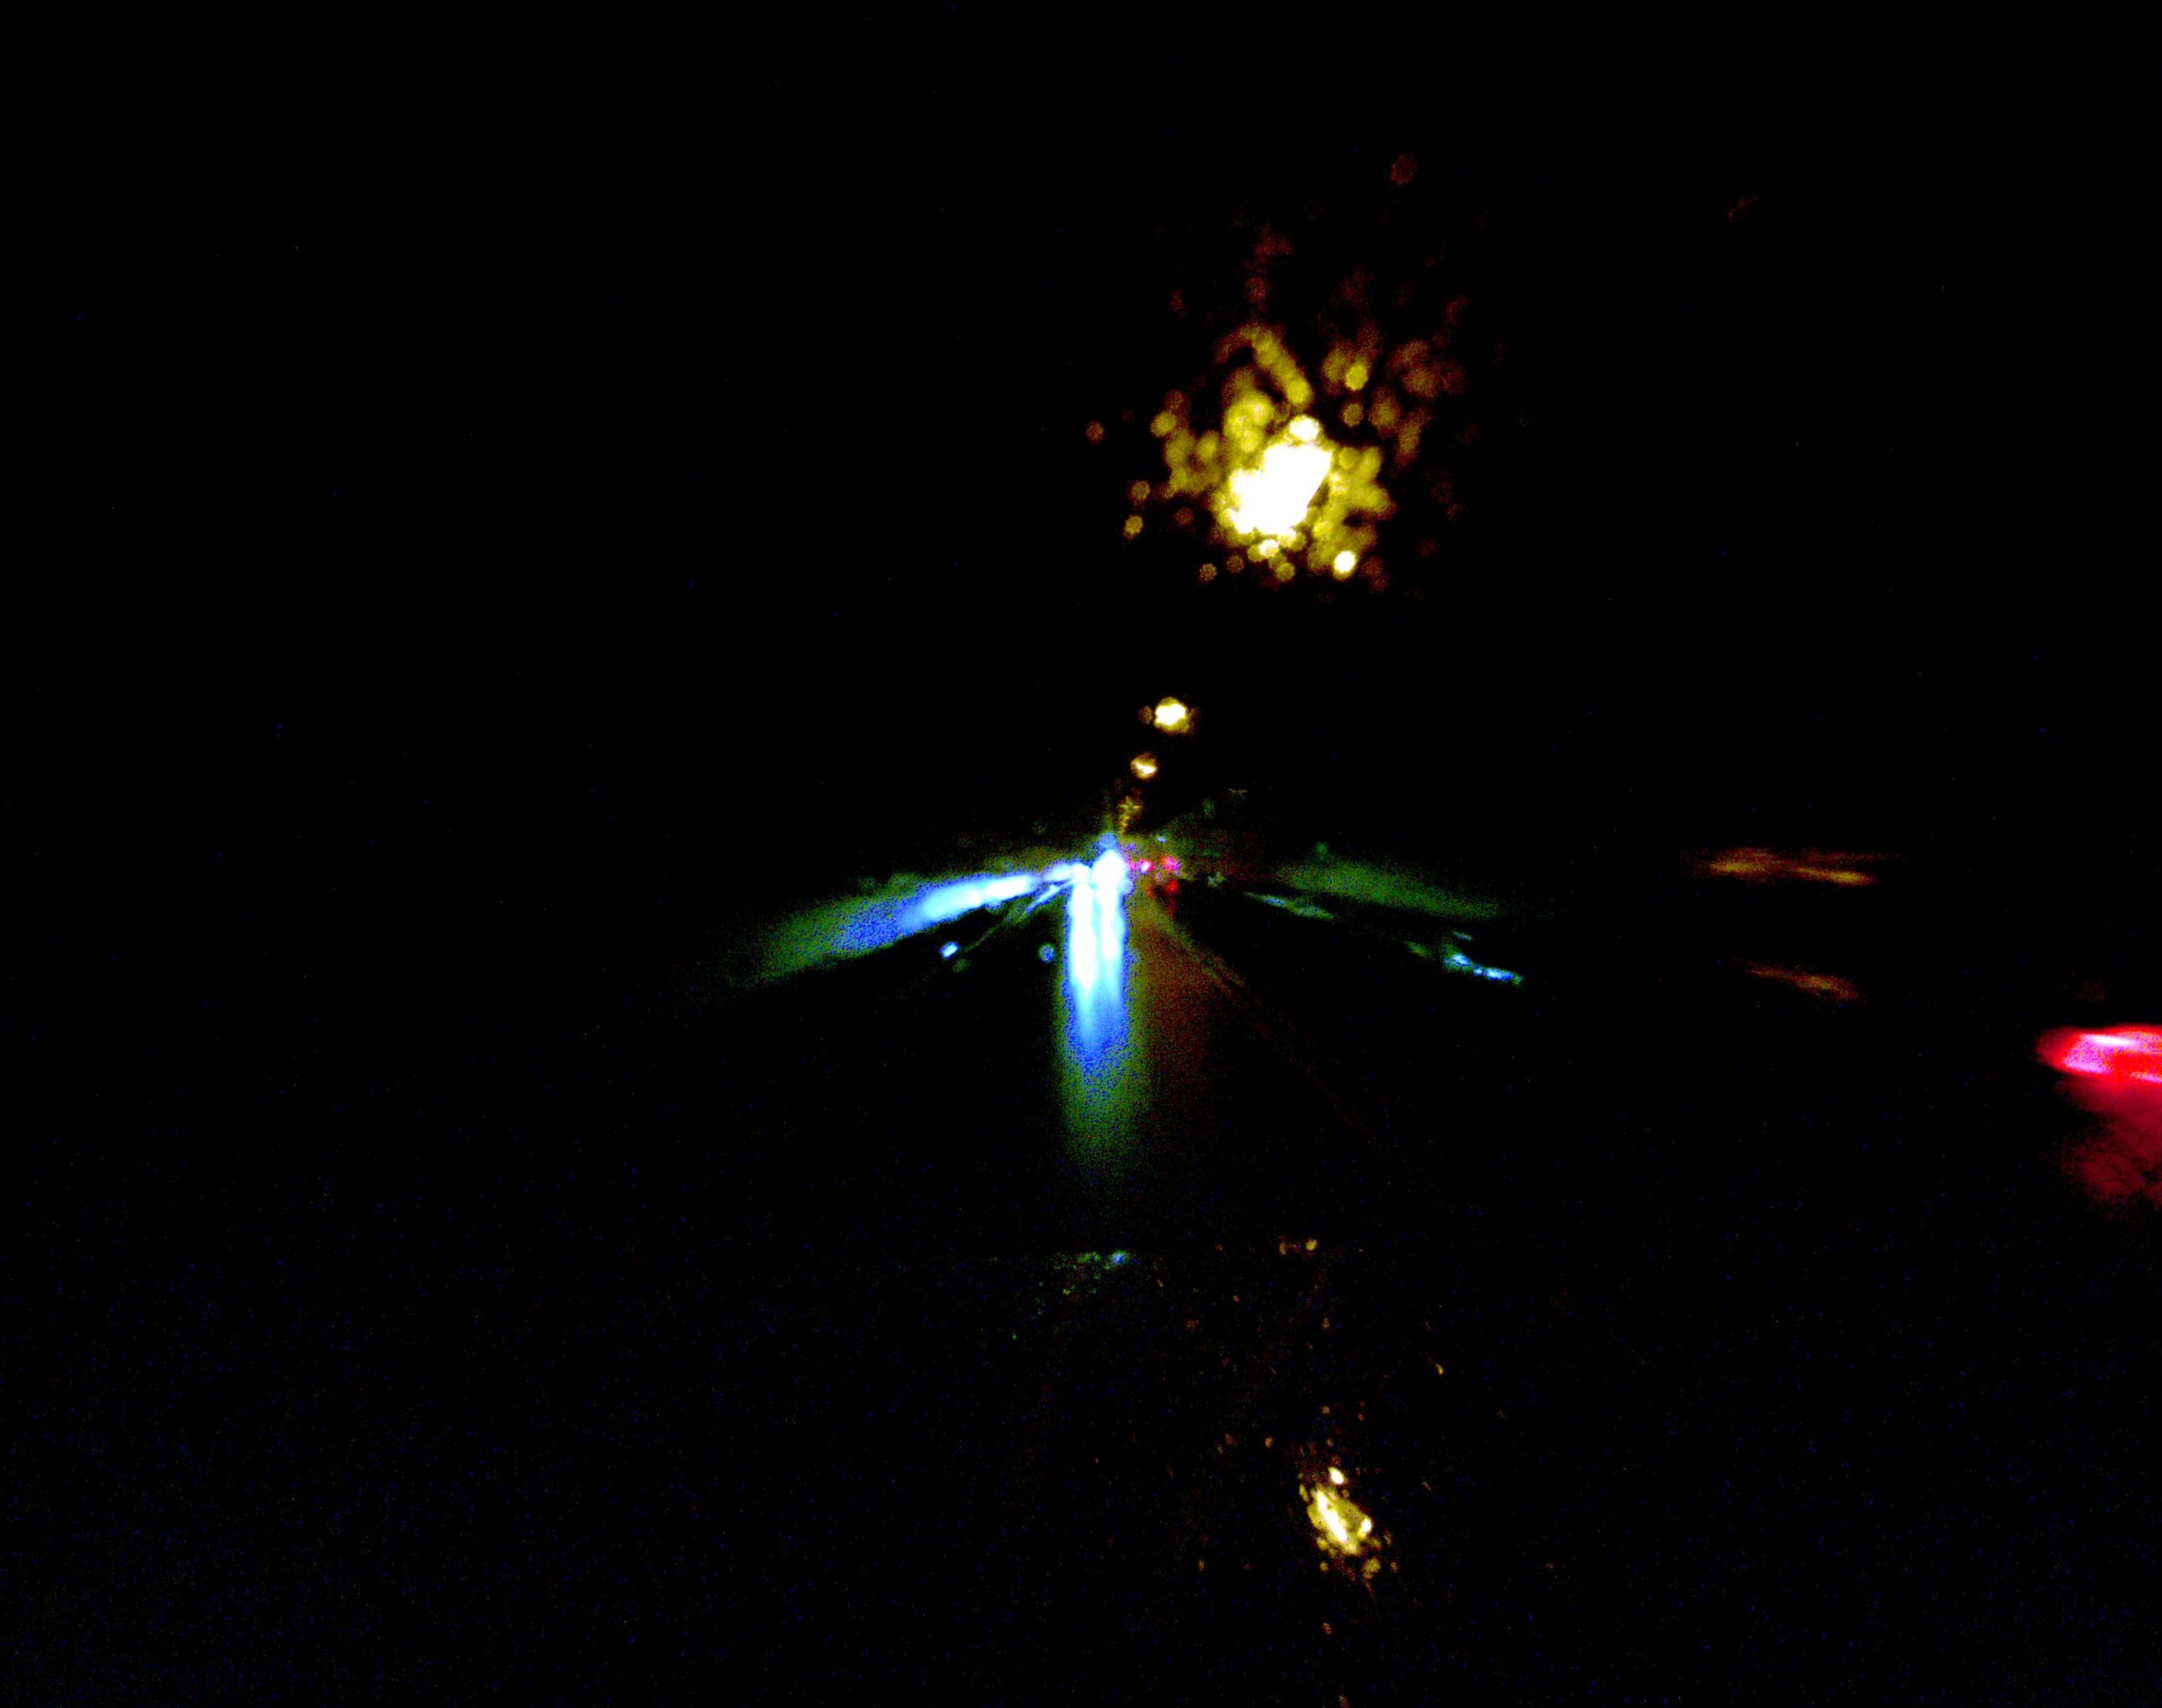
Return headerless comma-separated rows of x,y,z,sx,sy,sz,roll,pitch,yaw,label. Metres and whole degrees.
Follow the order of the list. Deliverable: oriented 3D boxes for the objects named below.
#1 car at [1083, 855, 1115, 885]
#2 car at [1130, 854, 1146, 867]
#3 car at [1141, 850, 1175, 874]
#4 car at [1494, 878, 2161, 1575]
1.085,0.892,43.992,1.730,1.595,4.000,-1,0,3,car
6.528,0.726,87.745,1.664,1.481,3.963,0,0,1,car
4.930,0.480,49.336,1.817,1.473,4.201,-1,0,1,car
3.317,0.907,2.633,1.660,1.484,3.838,-1,0,0,car
